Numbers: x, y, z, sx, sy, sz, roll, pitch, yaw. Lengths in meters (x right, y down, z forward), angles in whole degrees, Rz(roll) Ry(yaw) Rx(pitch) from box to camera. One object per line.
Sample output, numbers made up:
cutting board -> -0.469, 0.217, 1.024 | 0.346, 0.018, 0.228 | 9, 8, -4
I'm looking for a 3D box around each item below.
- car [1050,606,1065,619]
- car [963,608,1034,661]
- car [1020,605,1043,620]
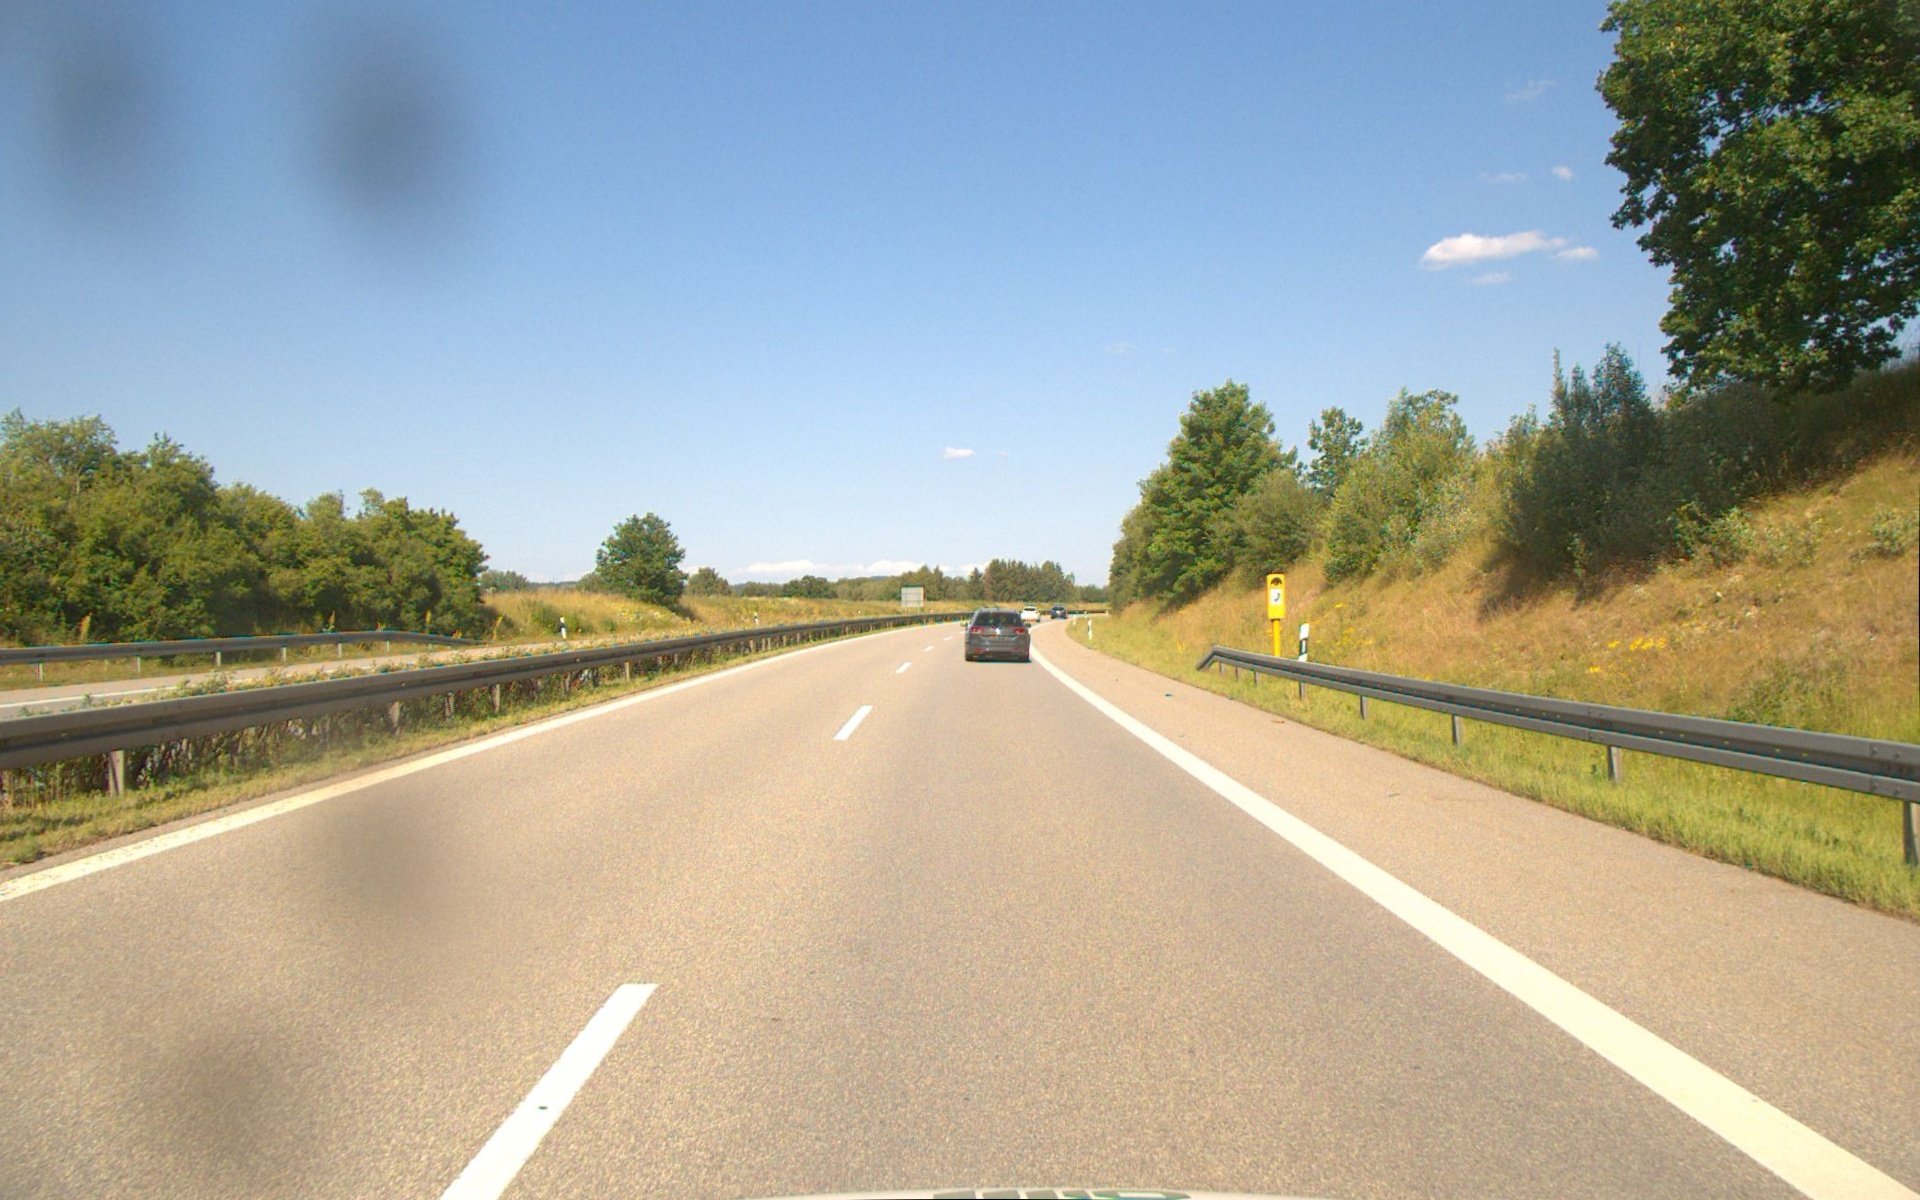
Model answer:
car -> 11.659, 1.542, 198.258 | 1.675, 1.411, 3.357 | 2, -1, 4
car -> 1.013, 0.917, 45.675 | 1.755, 1.368, 3.999 | 0, 0, -1
car -> 6.800, 1.205, 157.346 | 1.965, 1.368, 4.002 | 2, -1, 4
